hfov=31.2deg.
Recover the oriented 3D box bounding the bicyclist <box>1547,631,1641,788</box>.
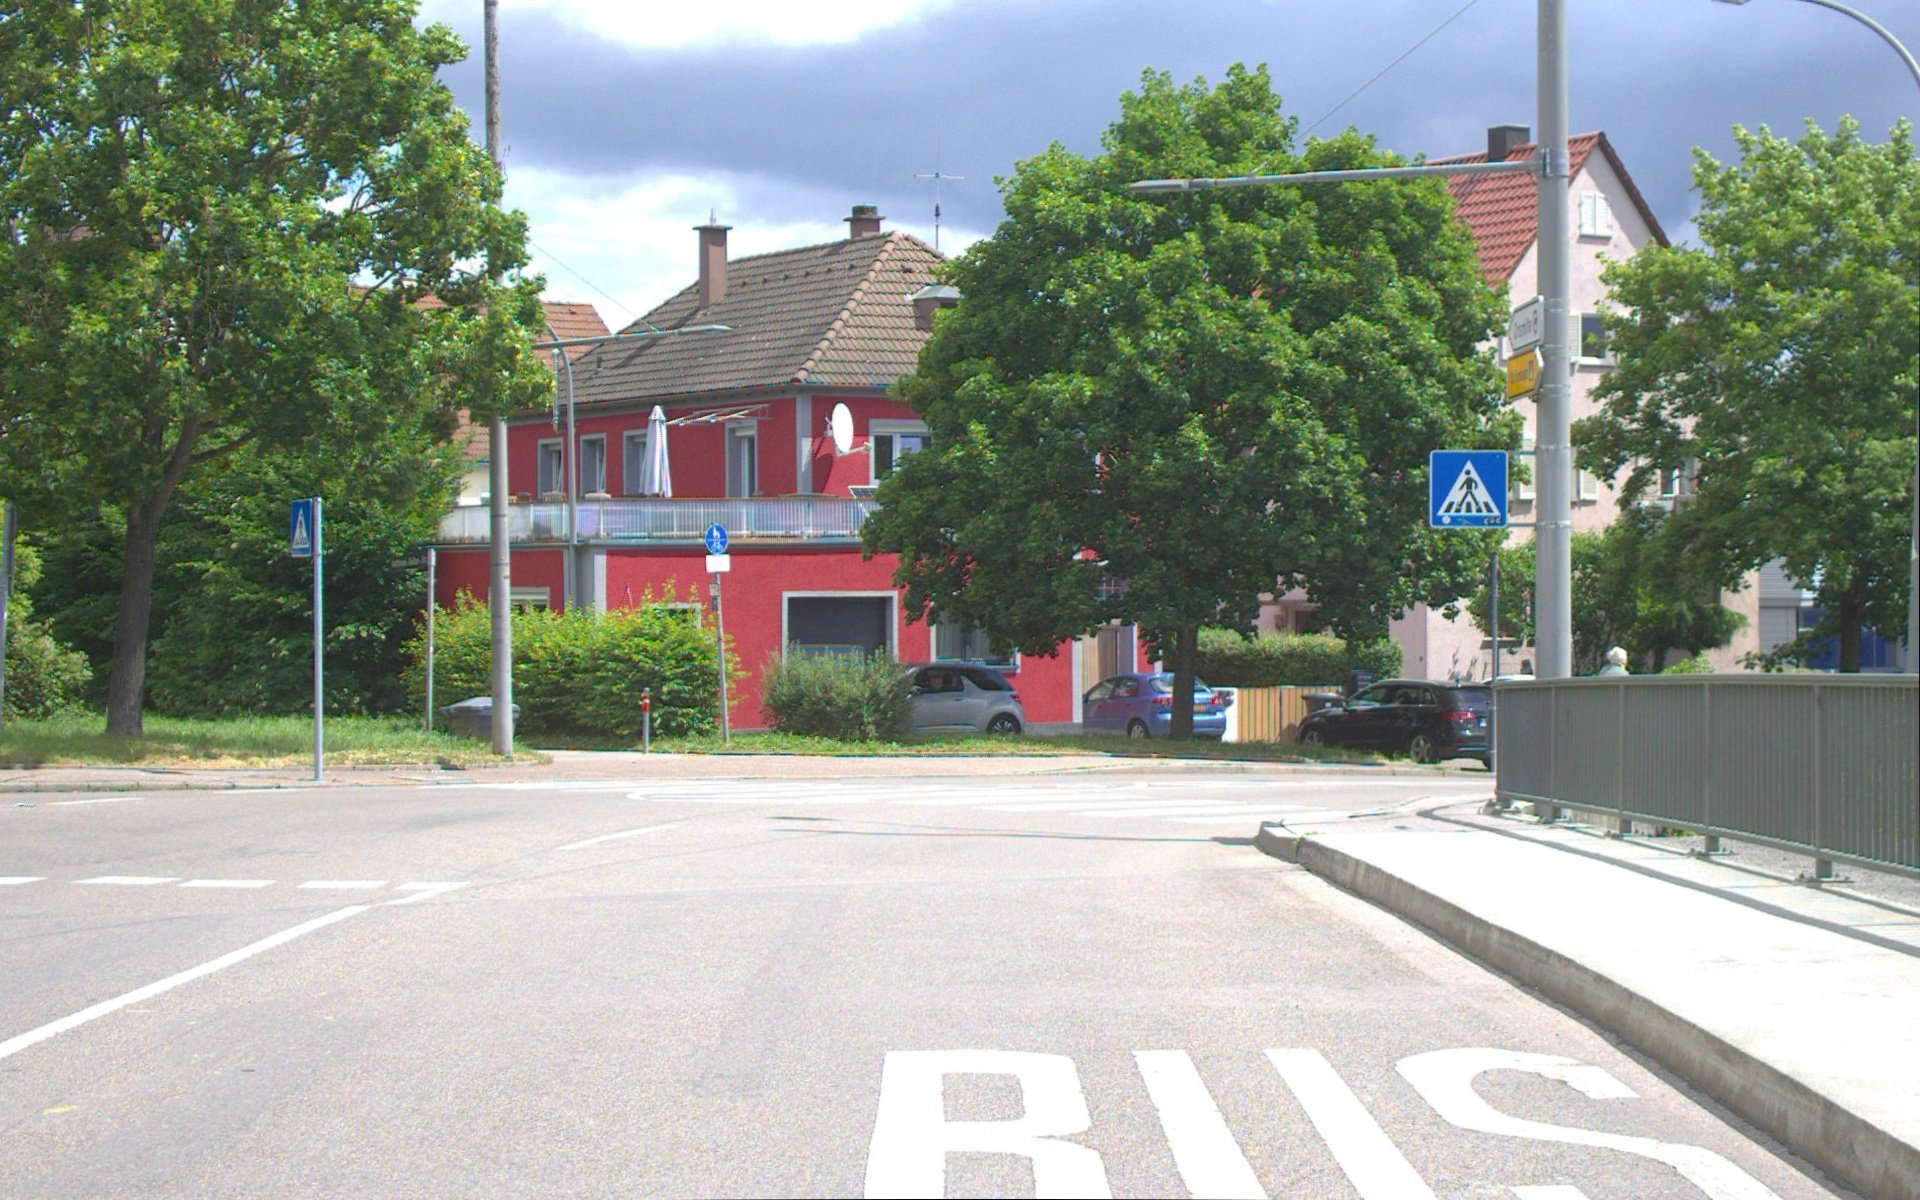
[{"bbox_3d":[7.510,1.308,40.696,0.686,1.820,1.078,-2,-5,36],"label":"bicyclist"}]

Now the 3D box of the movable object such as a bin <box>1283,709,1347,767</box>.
[{"bbox_3d":[6.686,2.600,64.766,0.877,1.058,0.758,3,-1,-28],"label":"movable object such as a bin"}]

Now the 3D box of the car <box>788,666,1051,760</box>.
[{"bbox_3d":[-0.659,1.880,57.003,4.064,1.421,1.645,2,-1,-33],"label":"car"}]

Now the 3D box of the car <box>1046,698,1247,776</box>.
[{"bbox_3d":[3.408,2.519,63.450,1.837,1.373,3.814,2,-2,-32],"label":"car"}]

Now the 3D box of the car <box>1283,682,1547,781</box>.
[{"bbox_3d":[7.263,2.102,55.258,1.993,1.389,4.144,2,-1,-32],"label":"car"}]

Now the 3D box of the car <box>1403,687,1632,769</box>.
[{"bbox_3d":[10.073,2.306,62.345,1.870,1.399,3.931,3,-2,-35],"label":"car"}]

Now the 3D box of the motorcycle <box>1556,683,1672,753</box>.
[{"bbox_3d":[13.089,2.372,68.822,2.228,1.311,0.920,3,-1,-33],"label":"motorcycle"}]
